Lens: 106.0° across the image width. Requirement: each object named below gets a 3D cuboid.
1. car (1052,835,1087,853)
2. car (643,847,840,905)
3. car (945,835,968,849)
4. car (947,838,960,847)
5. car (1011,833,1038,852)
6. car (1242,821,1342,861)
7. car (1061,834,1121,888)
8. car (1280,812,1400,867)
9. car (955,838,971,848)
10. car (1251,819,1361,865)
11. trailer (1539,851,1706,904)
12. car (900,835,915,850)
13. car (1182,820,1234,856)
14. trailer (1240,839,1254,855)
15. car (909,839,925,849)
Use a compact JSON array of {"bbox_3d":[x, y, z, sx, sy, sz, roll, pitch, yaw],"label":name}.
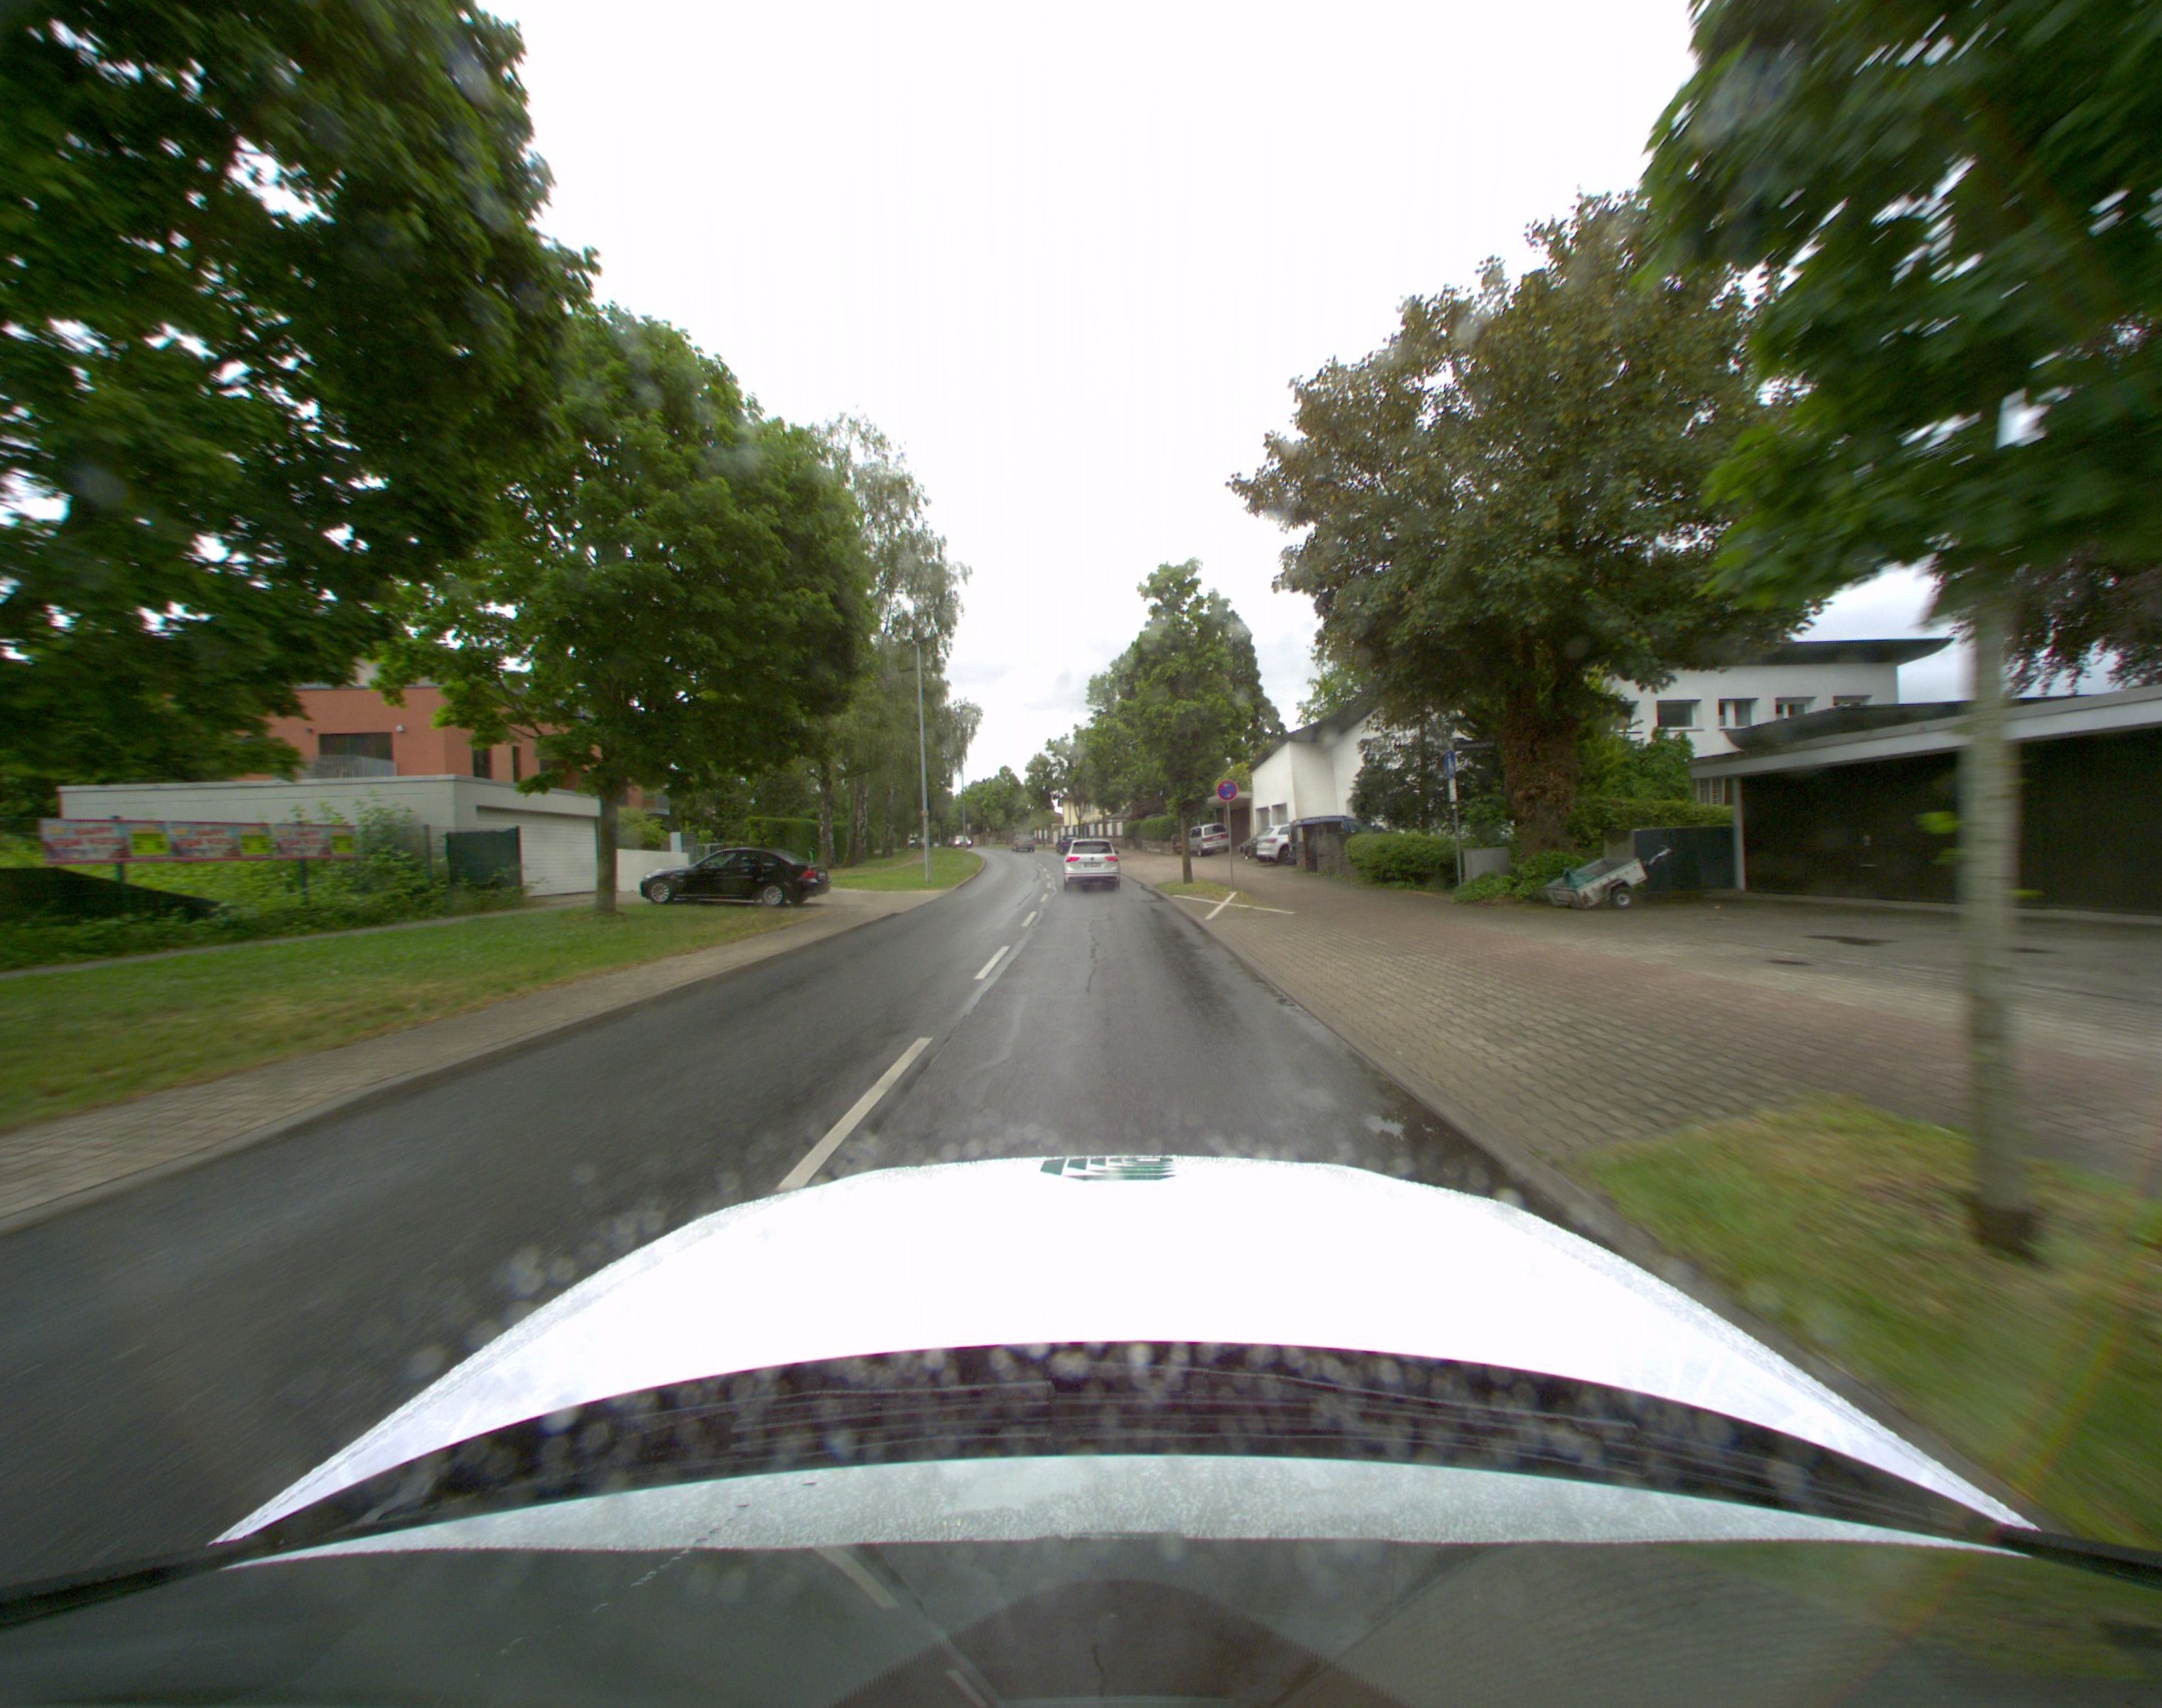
[{"bbox_3d":[-0.966,-0.795,65.760,1.647,1.427,3.975,-1,1,-18],"label":"car"},{"bbox_3d":[-8.428,0.539,20.411,4.198,1.363,1.692,-1,0,5],"label":"car"},{"bbox_3d":[-13.839,-1.327,90.339,1.772,1.427,3.975,-1,1,-19],"label":"car"},{"bbox_3d":[-21.322,-1.952,135.691,1.646,1.427,3.978,-1,1,-16],"label":"car"},{"bbox_3d":[-5.034,-0.992,72.274,1.770,1.551,3.983,-2,-1,-12],"label":"car"},{"bbox_3d":[9.340,-0.592,36.299,3.978,1.708,1.827,-1,2,-4],"label":"car"},{"bbox_3d":[0.278,0.182,27.494,1.860,1.650,3.998,0,1,-1],"label":"car"},{"bbox_3d":[9.805,-0.581,30.984,3.978,2.013,1.827,-1,2,-4],"label":"car"},{"bbox_3d":[-17.072,-1.603,117.763,1.647,1.427,3.975,-1,1,-19],"label":"car"},{"bbox_3d":[9.118,-0.512,33.243,3.978,1.811,1.827,-1,2,-4],"label":"car"},{"bbox_3d":[9.456,0.396,14.333,2.033,0.883,1.366,-1,0,3],"label":"trailer"},{"bbox_3d":[-28.232,-1.906,132.463,1.772,2.386,3.975,-1,1,-19],"label":"car"},{"bbox_3d":[7.271,-0.956,47.035,1.820,1.703,3.995,-10,3,-4],"label":"car"},{"bbox_3d":[7.870,-0.317,38.687,0.416,0.757,1.367,-1,0,2],"label":"trailer"},{"bbox_3d":[-23.103,-1.431,114.564,1.772,1.427,3.975,-1,1,-19],"label":"car"}]
